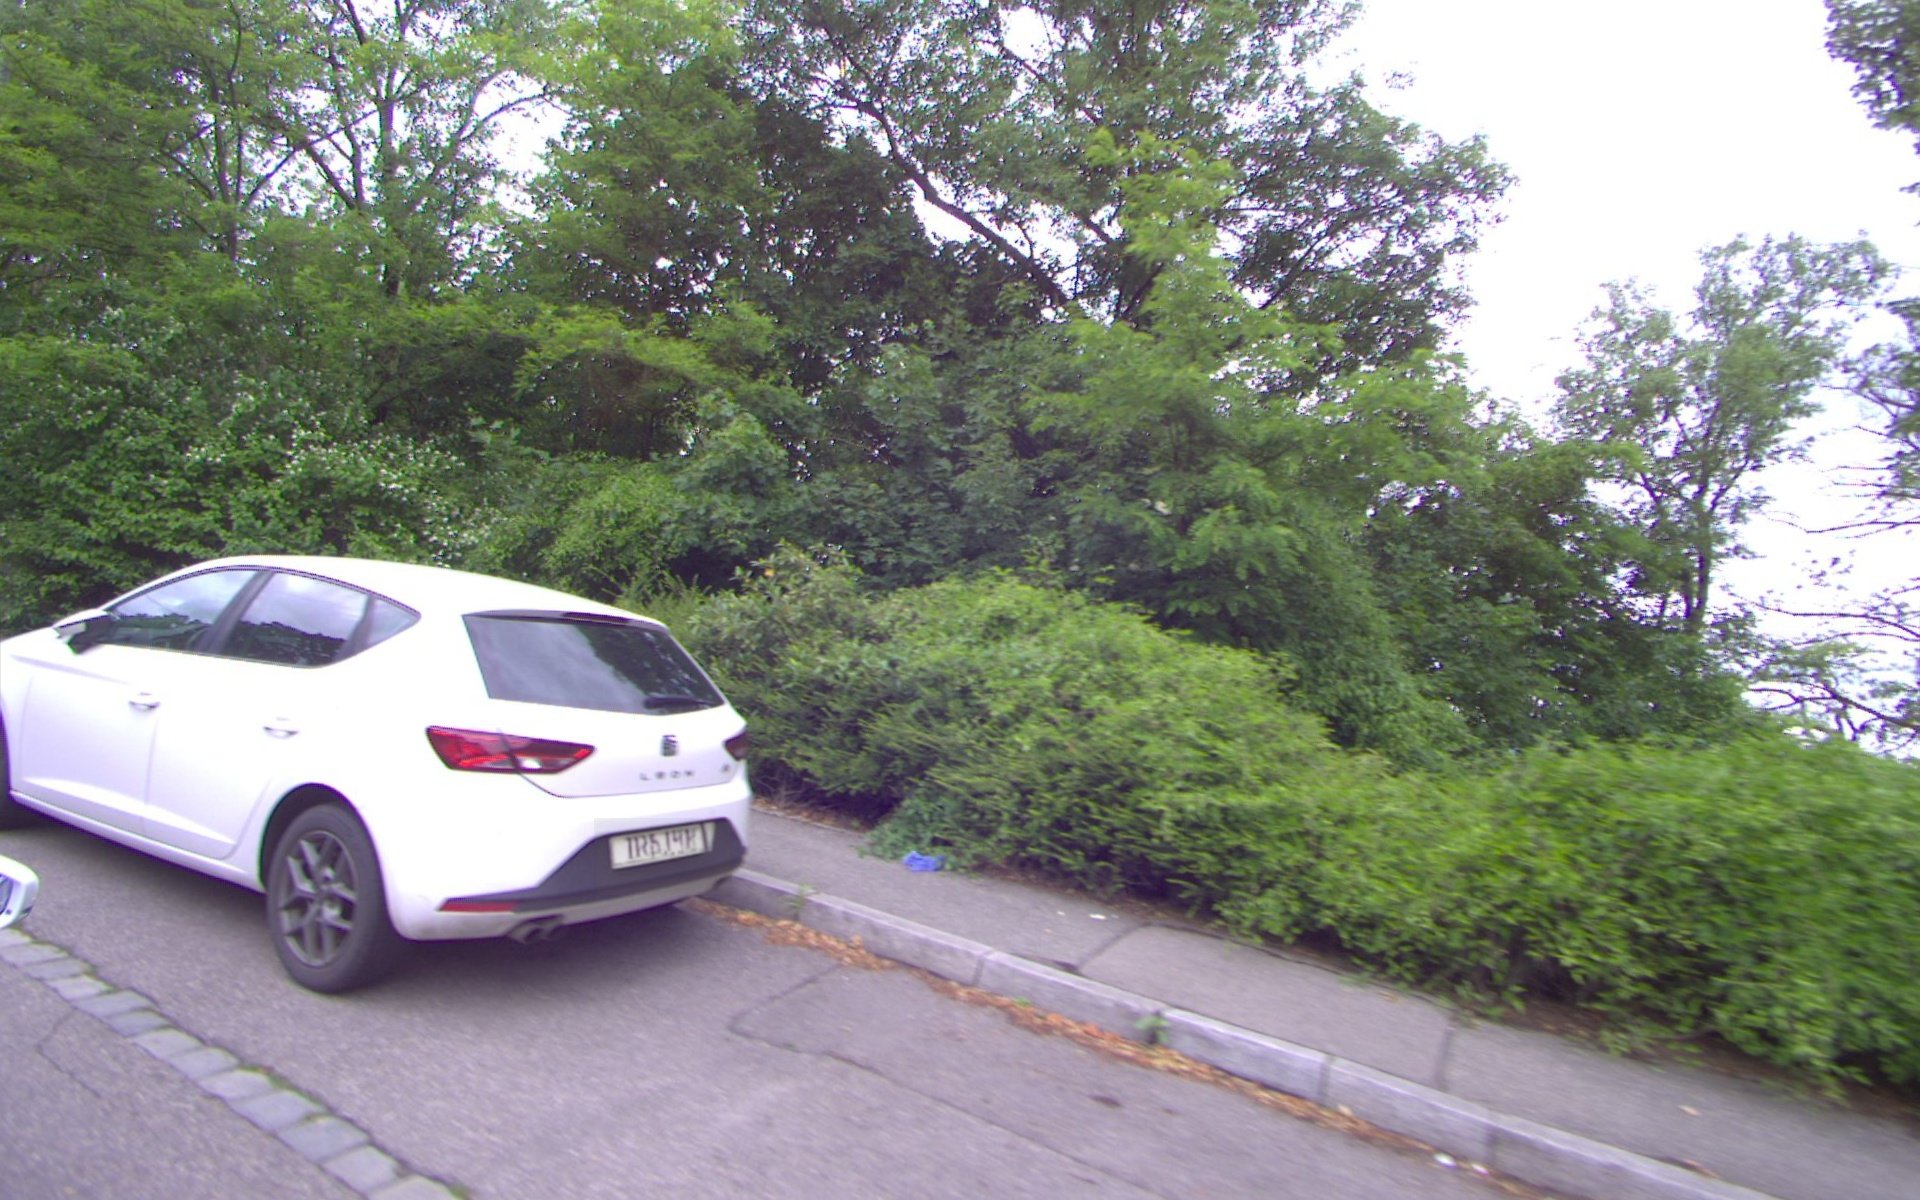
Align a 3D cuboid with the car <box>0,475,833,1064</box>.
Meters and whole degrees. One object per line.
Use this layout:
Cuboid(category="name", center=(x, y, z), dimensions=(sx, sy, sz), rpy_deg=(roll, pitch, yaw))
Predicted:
Cuboid(category="car", center=(-3.083, 0.416, 4.762), dimensions=(4.619, 1.499, 1.739), rpy_deg=(8, -3, 28))
